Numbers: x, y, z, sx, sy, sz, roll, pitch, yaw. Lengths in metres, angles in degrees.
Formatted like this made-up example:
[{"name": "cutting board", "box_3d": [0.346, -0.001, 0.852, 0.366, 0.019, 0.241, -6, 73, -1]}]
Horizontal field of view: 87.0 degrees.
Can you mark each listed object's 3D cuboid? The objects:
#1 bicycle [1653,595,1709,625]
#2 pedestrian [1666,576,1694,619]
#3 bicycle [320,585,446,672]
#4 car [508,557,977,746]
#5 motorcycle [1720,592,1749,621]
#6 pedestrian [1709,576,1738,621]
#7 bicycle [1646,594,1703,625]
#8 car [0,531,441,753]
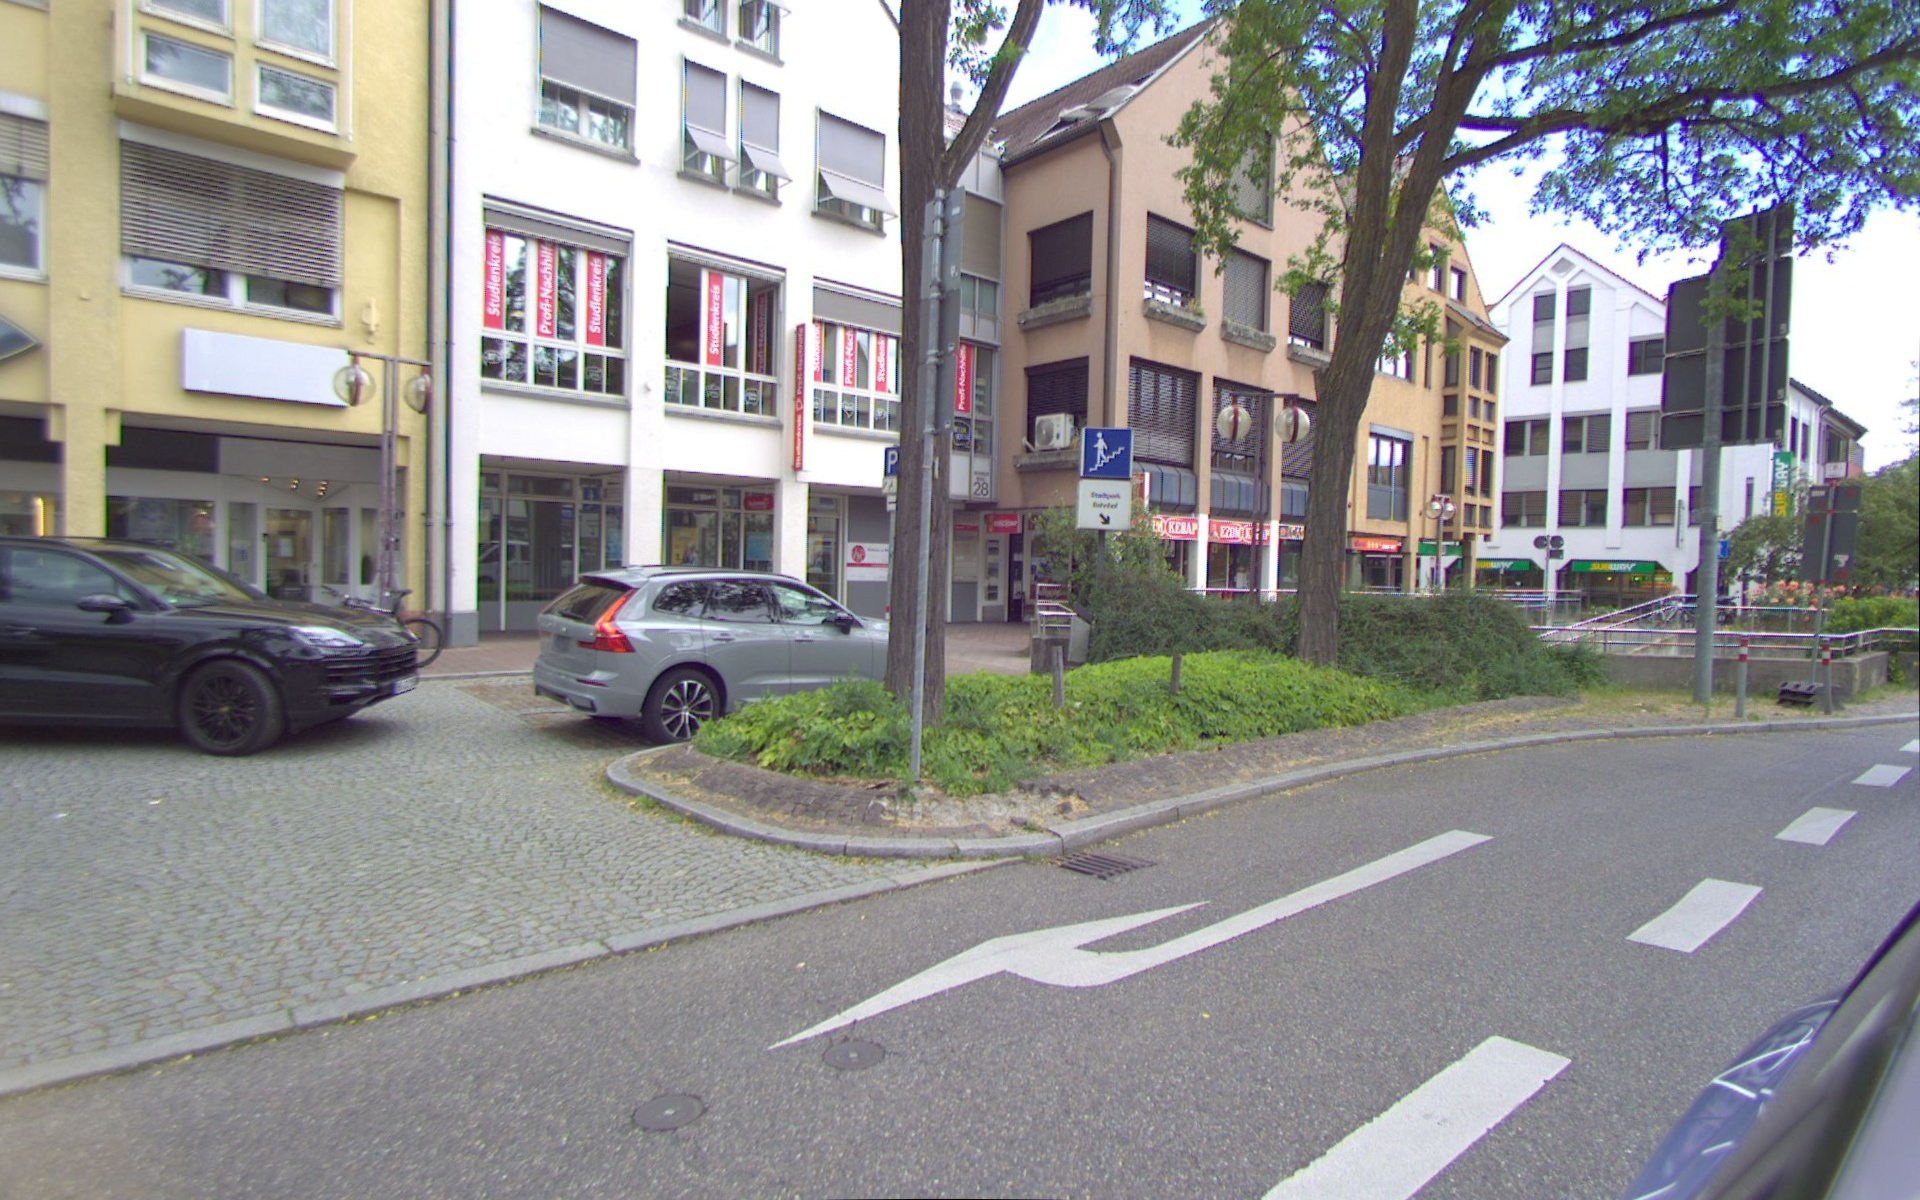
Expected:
[{"name": "bicycle", "box_3d": [25.169, 0.333, 35.354, 1.584, 0.981, 0.455, 2, 1, 36]}, {"name": "pedestrian", "box_3d": [30.074, -0.118, 42.272, 0.882, 1.779, 0.931, 2, 1, 38]}, {"name": "bicycle", "box_3d": [-7.400, 0.342, 13.010, 1.354, 1.057, 0.393, 0, 2, -41]}, {"name": "car", "box_3d": [-2.181, 0.406, 11.094, 4.684, 1.615, 1.996, 0, 2, -44]}, {"name": "motorcycle", "box_3d": [29.354, 0.235, 38.332, 1.960, 1.081, 0.464, 0, 2, -41]}, {"name": "pedestrian", "box_3d": [32.000, -0.070, 42.412, 0.772, 1.846, 0.869, 0, 0, -44]}, {"name": "bicycle", "box_3d": [24.613, 0.319, 34.873, 1.584, 1.014, 0.409, 2, 1, 37]}, {"name": "car", "box_3d": [-7.248, 0.296, 8.752, 4.566, 1.690, 1.863, 2, 2, -12]}]
